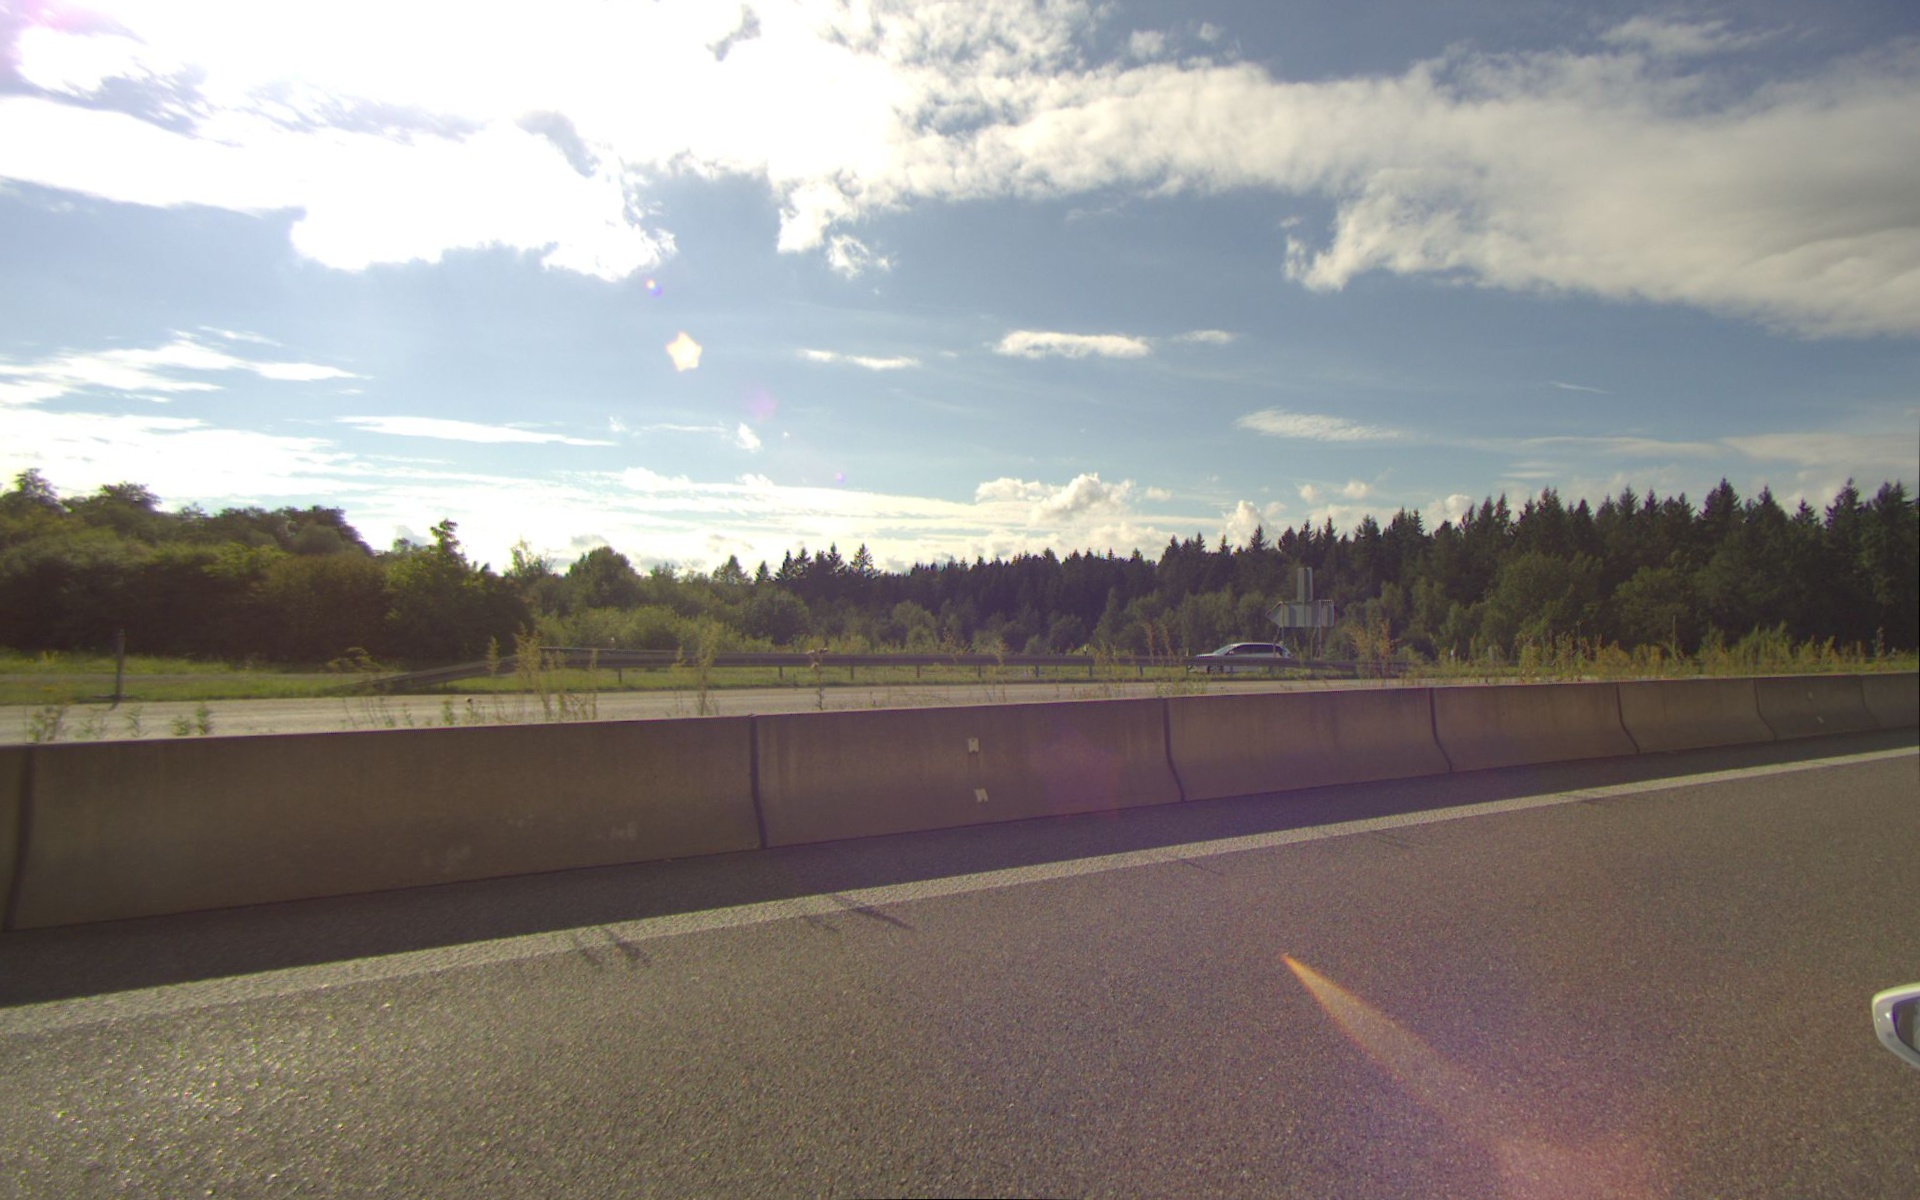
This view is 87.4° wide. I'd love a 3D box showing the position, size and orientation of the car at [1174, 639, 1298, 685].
[{"bbox_3d":[12.228,2.732,44.659,4.885,1.824,1.997,2,0,-8],"label":"car"}]
